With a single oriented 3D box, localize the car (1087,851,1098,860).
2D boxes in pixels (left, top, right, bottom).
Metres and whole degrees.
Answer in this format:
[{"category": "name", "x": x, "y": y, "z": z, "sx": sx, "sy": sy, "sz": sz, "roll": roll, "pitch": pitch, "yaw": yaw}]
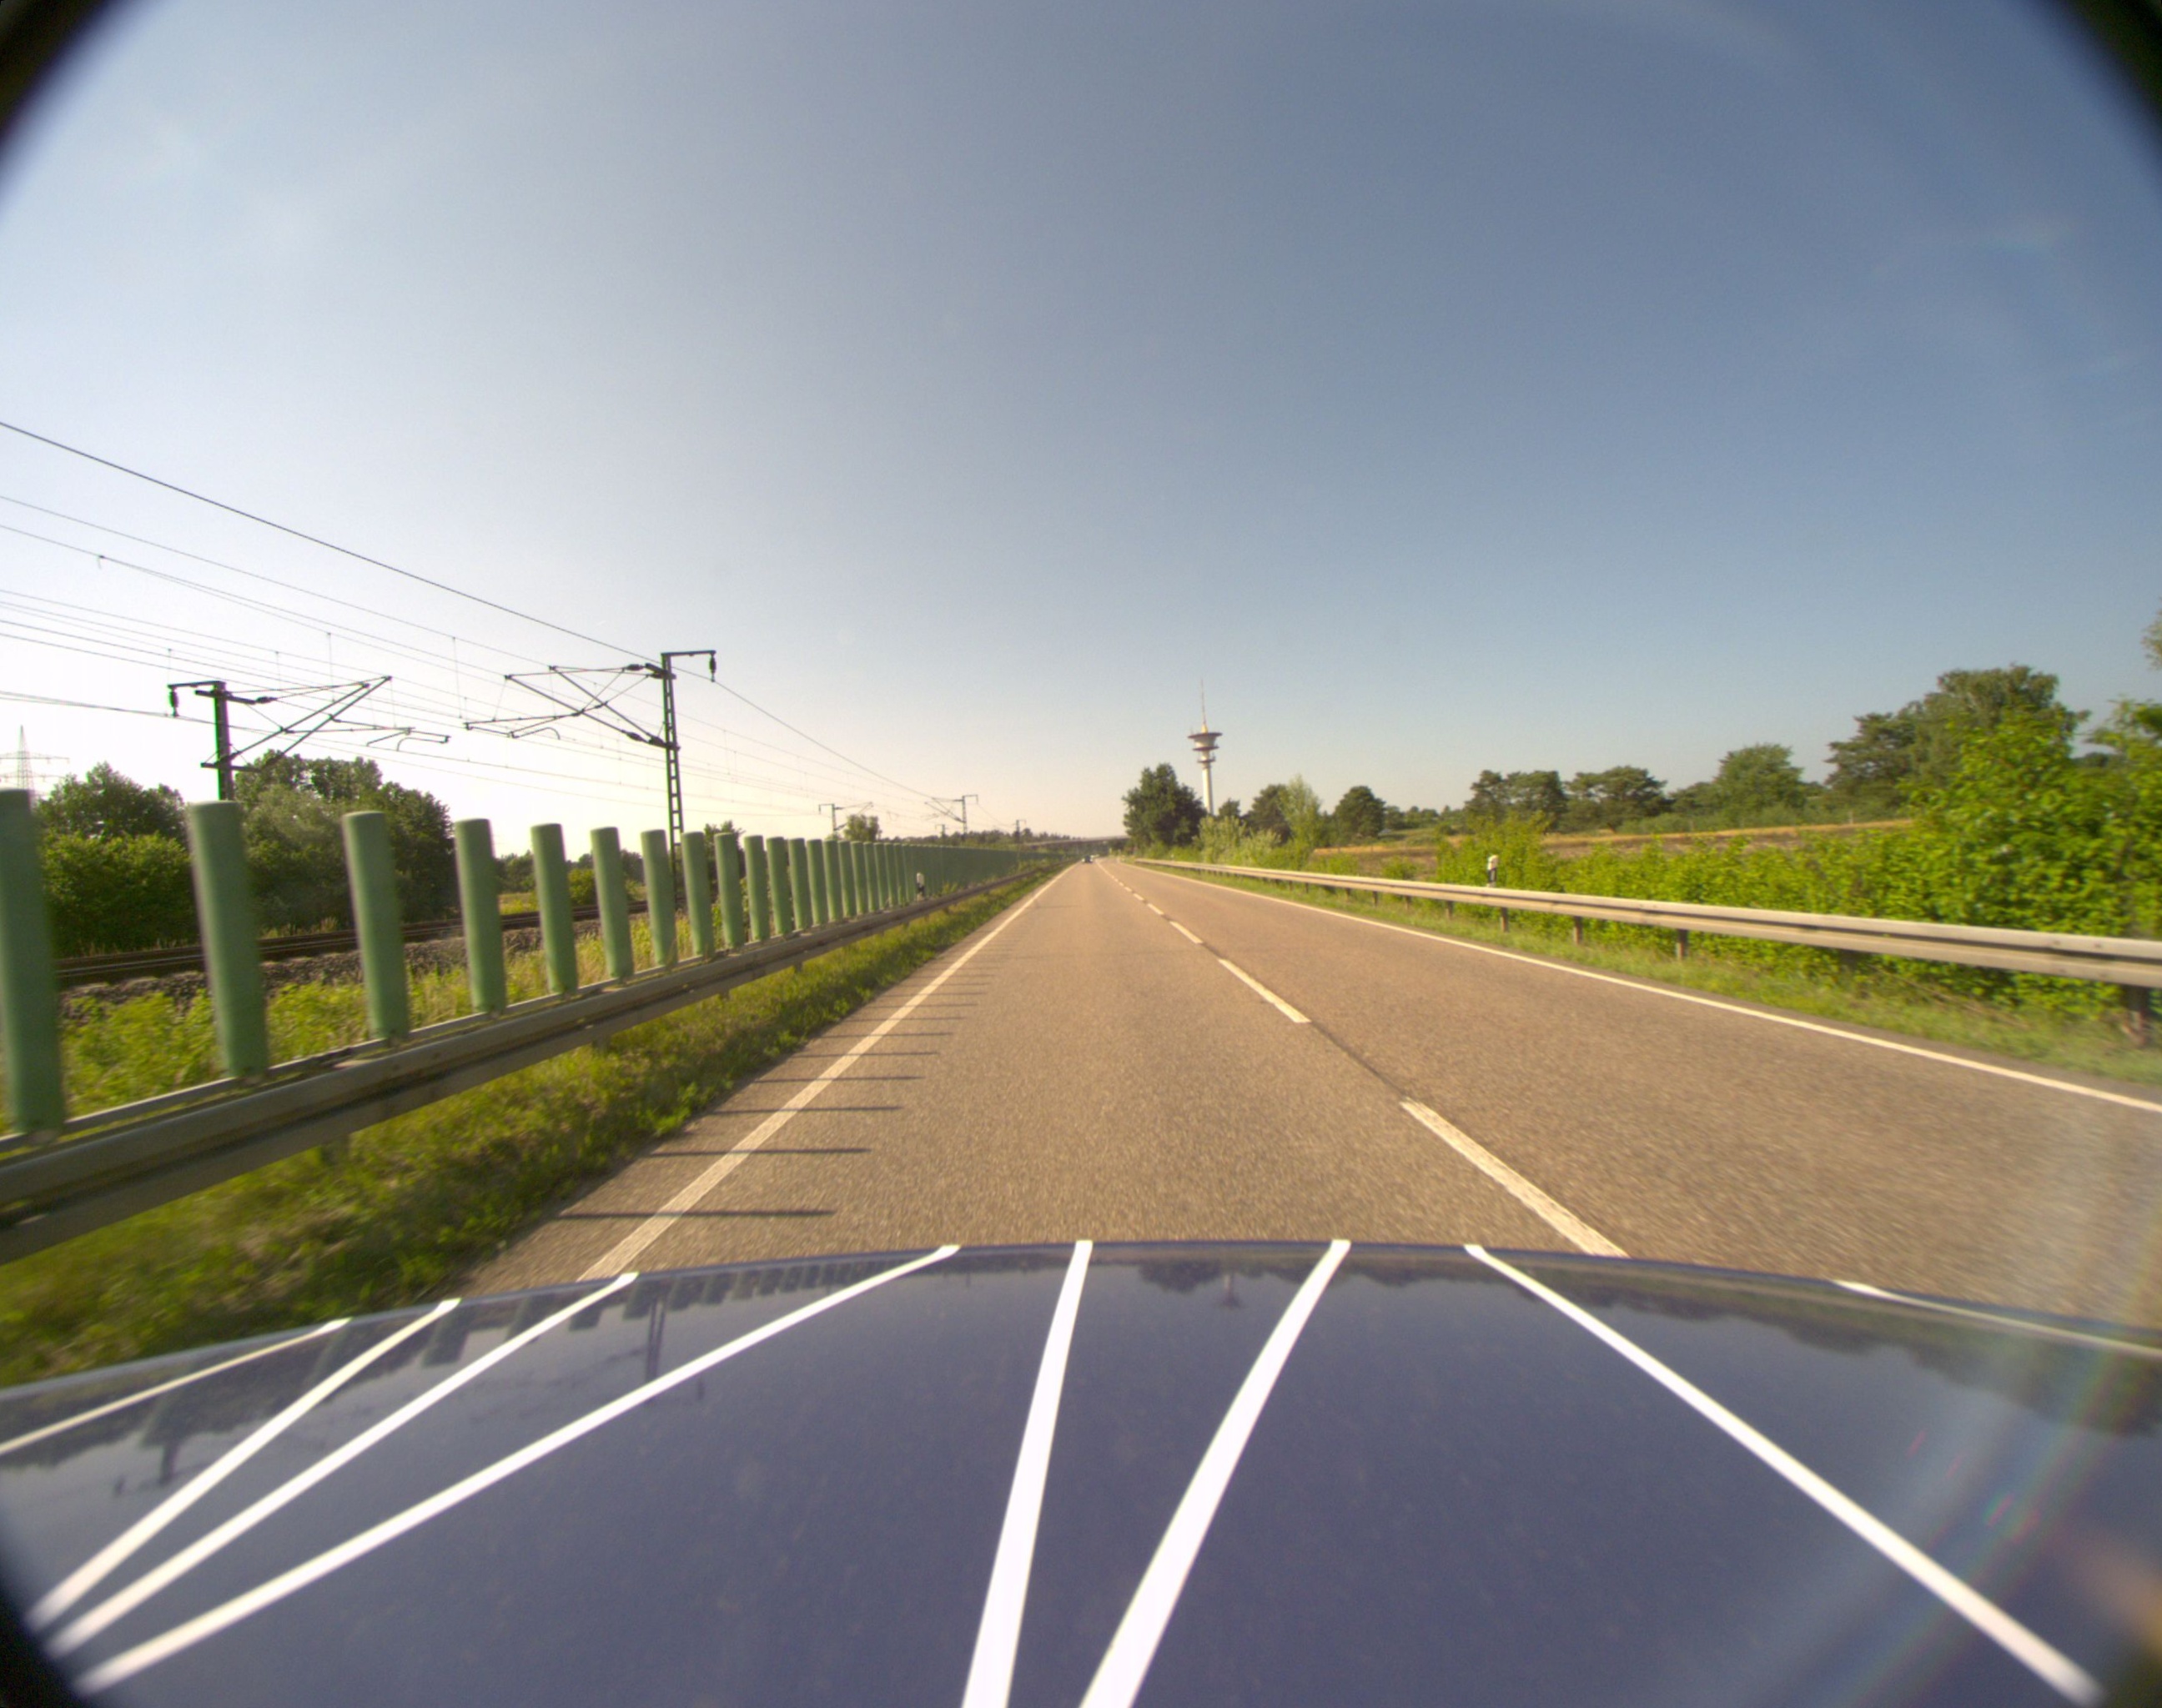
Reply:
[{"category": "car", "x": 2.009, "y": 0.209, "z": 134.003, "sx": 1.868, "sy": 1.533, "sz": 4.076, "roll": -2, "pitch": 0, "yaw": 3}]
